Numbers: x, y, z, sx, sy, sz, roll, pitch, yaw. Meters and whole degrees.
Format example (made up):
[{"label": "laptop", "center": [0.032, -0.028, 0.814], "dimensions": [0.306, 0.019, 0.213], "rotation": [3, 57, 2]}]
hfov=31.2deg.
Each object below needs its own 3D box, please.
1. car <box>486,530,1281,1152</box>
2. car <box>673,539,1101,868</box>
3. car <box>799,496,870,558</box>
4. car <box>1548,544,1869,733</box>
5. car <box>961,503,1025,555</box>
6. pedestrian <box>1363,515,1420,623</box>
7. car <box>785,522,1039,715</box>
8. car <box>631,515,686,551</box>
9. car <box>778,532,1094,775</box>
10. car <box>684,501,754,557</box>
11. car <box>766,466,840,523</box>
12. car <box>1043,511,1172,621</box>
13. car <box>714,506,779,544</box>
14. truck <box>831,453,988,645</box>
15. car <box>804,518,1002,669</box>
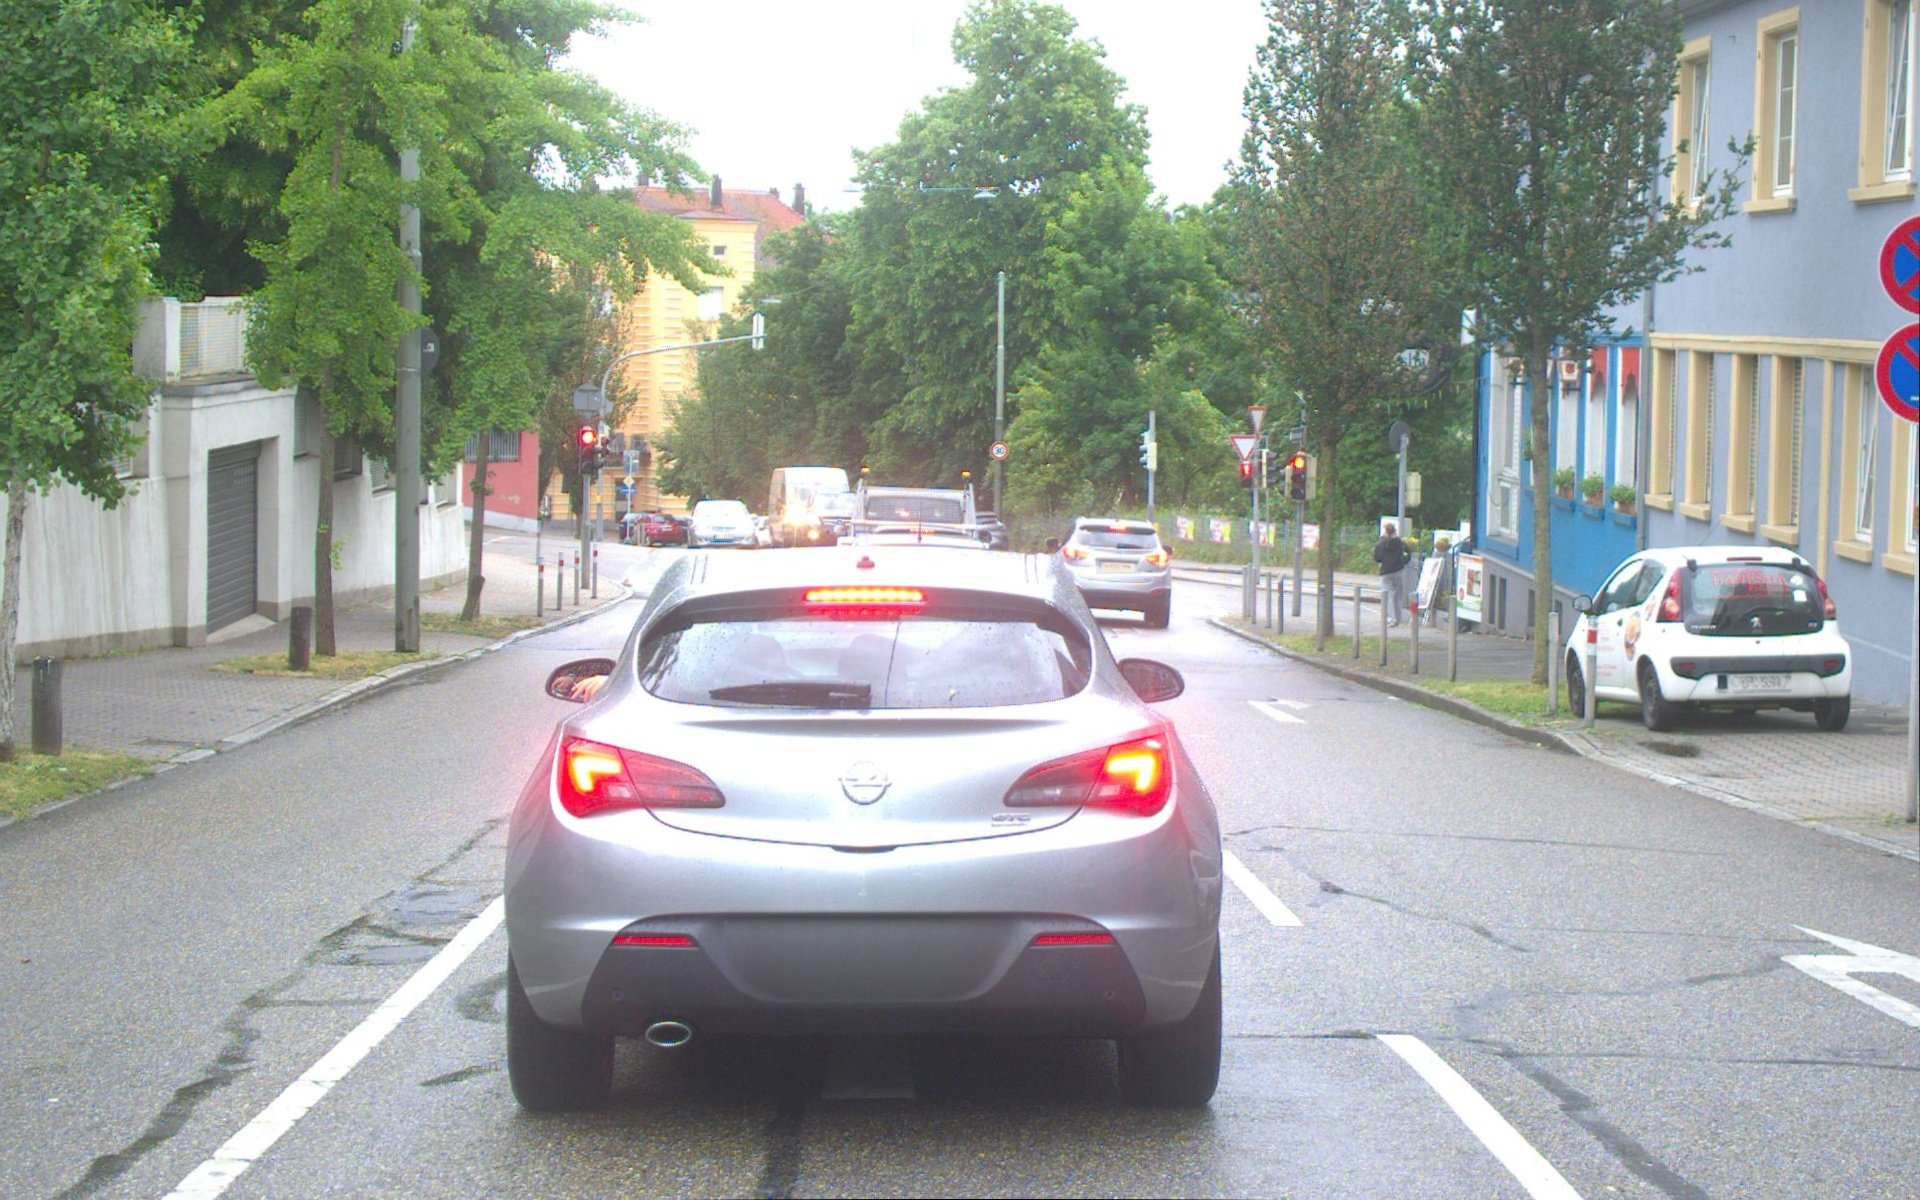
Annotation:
[{"label": "car", "center": [-0.258, 0.529, 9.989], "dimensions": [1.837, 1.429, 3.880], "rotation": [1, 1, -2]}, {"label": "car", "center": [-0.405, 0.451, 18.329], "dimensions": [1.962, 1.443, 4.306], "rotation": [2, 1, -2]}, {"label": "car", "center": [-3.368, -1.974, 92.588], "dimensions": [1.870, 1.632, 3.880], "rotation": [0, 1, -2]}, {"label": "car", "center": [6.154, 0.267, 28.687], "dimensions": [1.722, 1.443, 3.880], "rotation": [0, 1, -2]}, {"label": "car", "center": [1.032, -2.245, 108.880], "dimensions": [1.722, 1.632, 3.880], "rotation": [0, 1, -4]}, {"label": "pedestrian", "center": [7.060, -0.509, 56.245], "dimensions": [0.783, 1.723, 0.651], "rotation": [2, 1, 0]}, {"label": "car", "center": [-0.446, 0.101, 29.428], "dimensions": [1.962, 1.443, 4.306], "rotation": [2, 1, -2]}, {"label": "car", "center": [-13.881, -3.069, 158.088], "dimensions": [1.722, 1.632, 3.881], "rotation": [0, 1, -18]}, {"label": "car", "center": [-0.217, 0.299, 24.050], "dimensions": [1.962, 1.443, 4.306], "rotation": [2, 1, -2]}, {"label": "car", "center": [-6.462, -1.915, 92.570], "dimensions": [1.722, 1.455, 3.880], "rotation": [0, 1, -2]}, {"label": "car", "center": [-4.602, -3.061, 100.209], "dimensions": [1.722, 1.632, 3.881], "rotation": [0, 1, -9]}, {"label": "car", "center": [2.328, -0.568, 55.113], "dimensions": [1.722, 1.708, 3.880], "rotation": [0, 1, -2]}, {"label": "car", "center": [-8.678, -3.031, 139.318], "dimensions": [1.722, 1.538, 3.881], "rotation": [0, 1, -18]}, {"label": "truck", "center": [-0.729, -0.727, 47.079], "dimensions": [1.962, 2.420, 4.936], "rotation": [2, 1, -2]}, {"label": "car", "center": [-0.641, -0.115, 37.087], "dimensions": [1.962, 1.443, 4.306], "rotation": [2, 1, -2]}]
